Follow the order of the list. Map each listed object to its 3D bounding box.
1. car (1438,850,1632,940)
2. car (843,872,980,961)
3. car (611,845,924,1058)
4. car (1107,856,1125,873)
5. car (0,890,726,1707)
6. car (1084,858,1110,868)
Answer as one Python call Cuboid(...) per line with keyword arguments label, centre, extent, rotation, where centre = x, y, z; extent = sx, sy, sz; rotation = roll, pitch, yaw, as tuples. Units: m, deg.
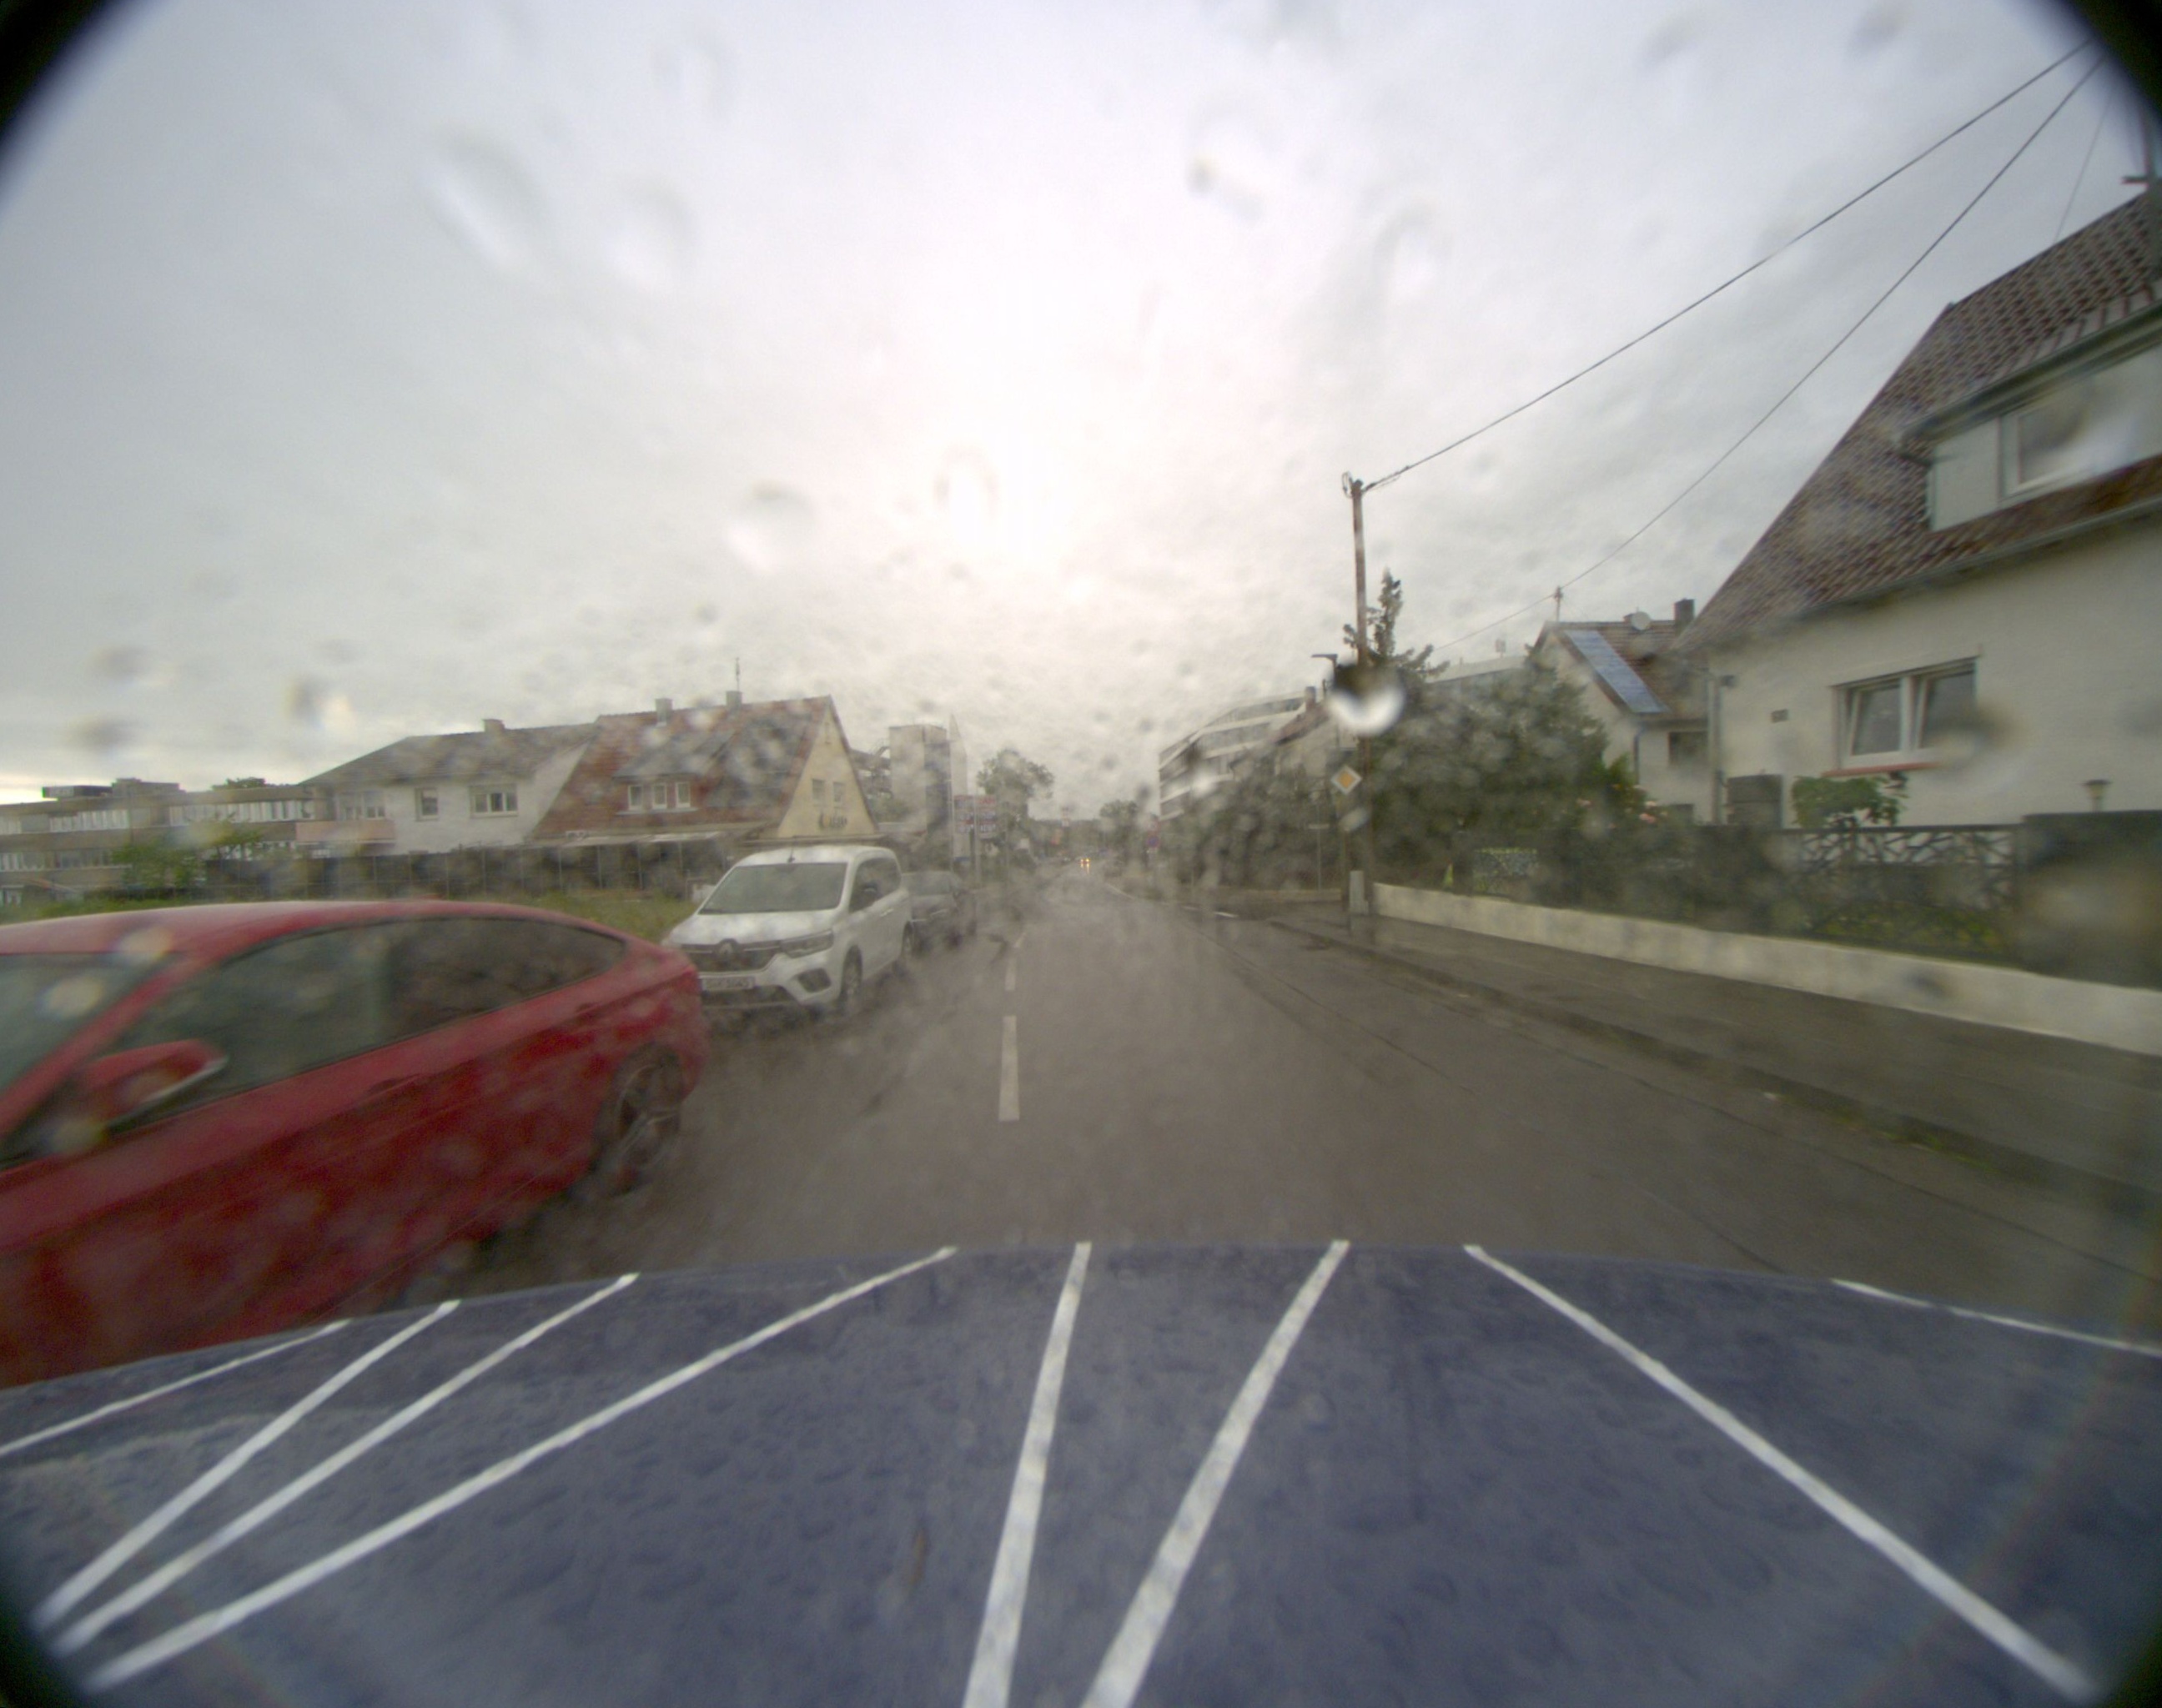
Cuboid(label="car", centre=(8.812, 0.717, 15.108), extent=(1.783, 1.459, 3.456), rotation=(-2, 1, 1))
Cuboid(label="car", centre=(-3.224, 1.140, 15.339), extent=(1.773, 1.328, 4.320), rotation=(-3, 0, -1))
Cuboid(label="car", centre=(-3.275, 0.864, 9.080), extent=(1.773, 1.814, 4.574), rotation=(-3, 0, -1))
Cuboid(label="car", centre=(3.686, 1.118, 80.811), extent=(1.841, 1.696, 4.324), rotation=(-2, 0, 2))
Cuboid(label="car", centre=(-3.043, 1.050, 2.228), extent=(1.646, 1.565, 4.644), rotation=(-3, 0, 1))
Cuboid(label="car", centre=(2.656, 1.483, 126.803), extent=(4.166, 1.411, 2.001), rotation=(-4, 0, 5))
